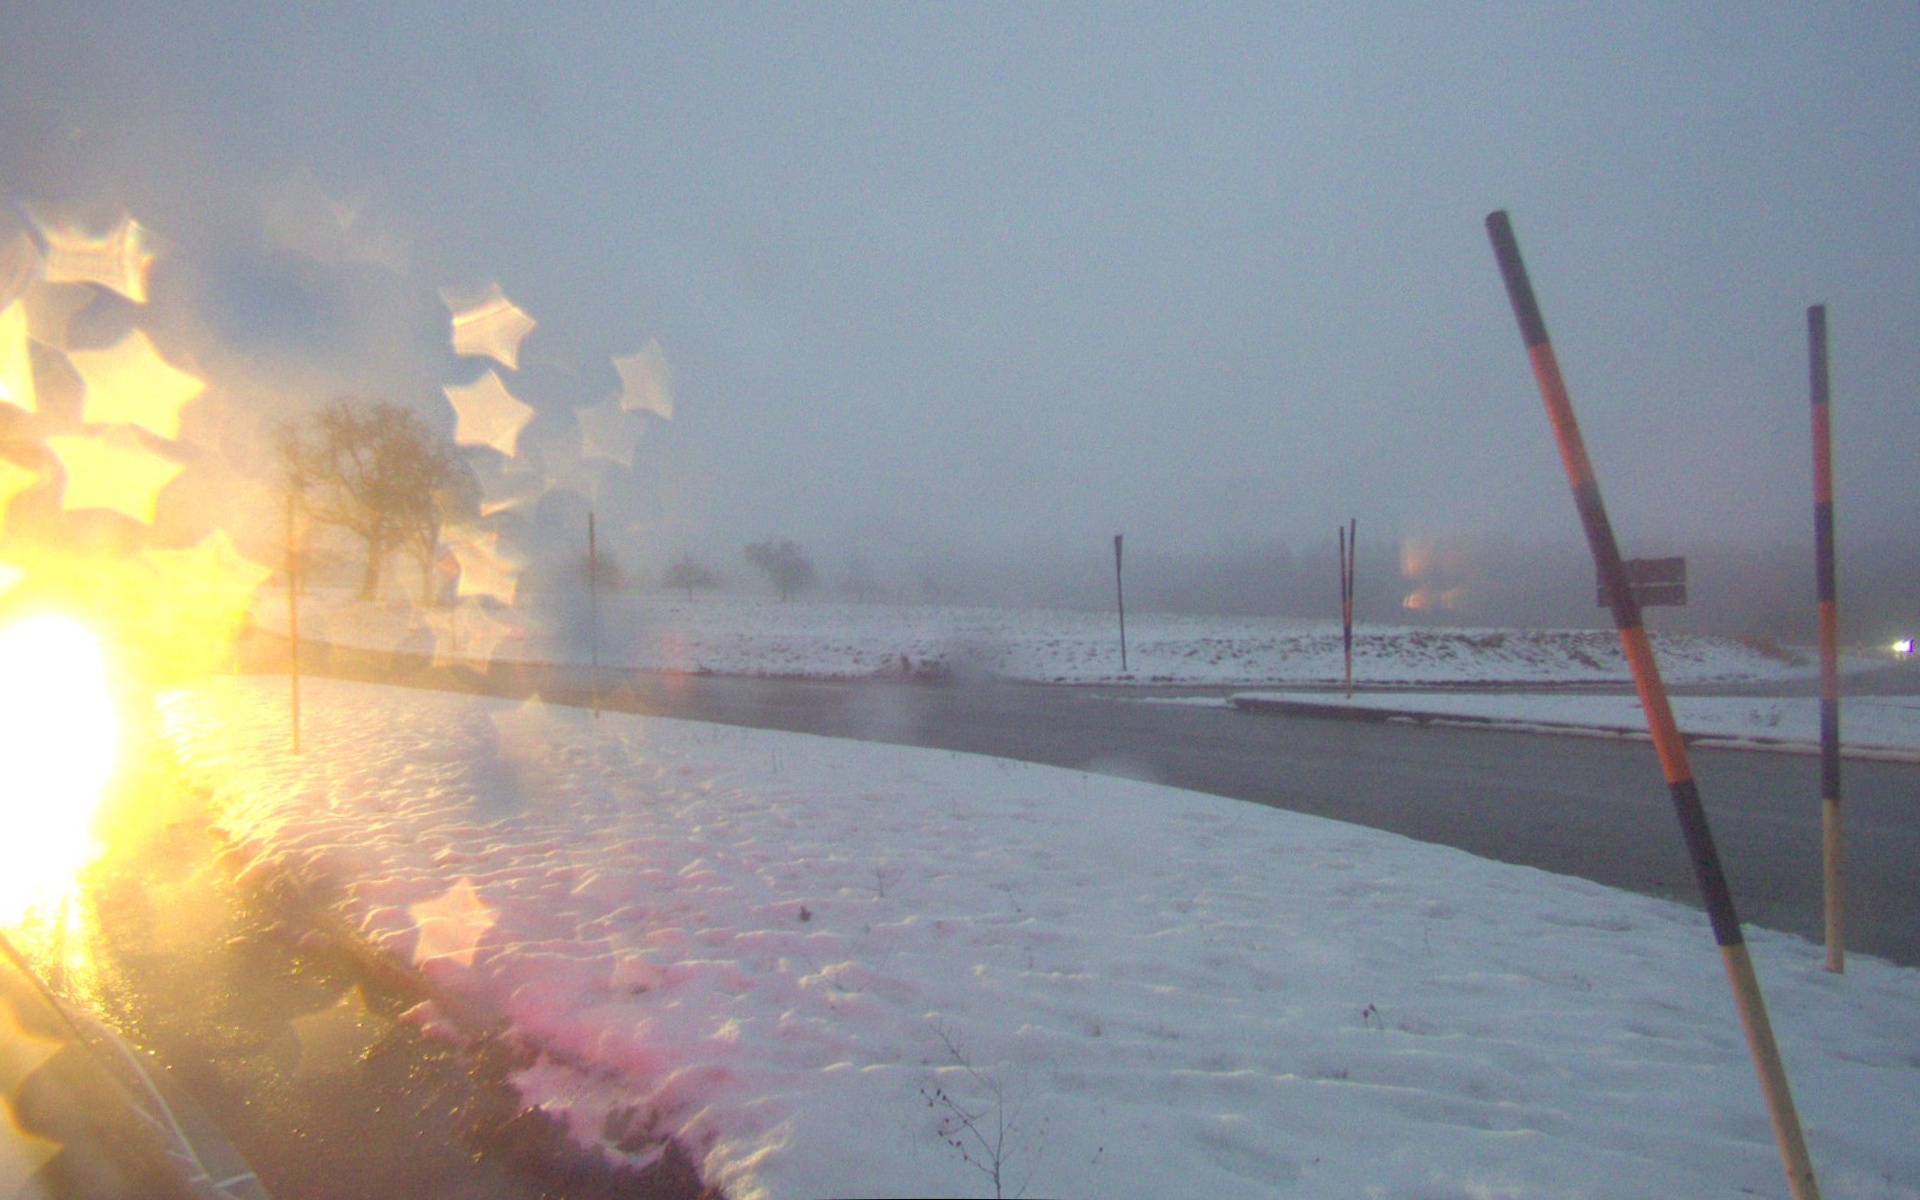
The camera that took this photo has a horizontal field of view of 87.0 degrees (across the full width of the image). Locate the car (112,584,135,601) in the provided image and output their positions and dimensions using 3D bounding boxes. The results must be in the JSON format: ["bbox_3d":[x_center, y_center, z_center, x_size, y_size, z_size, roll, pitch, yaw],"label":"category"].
[{"bbox_3d":[-93.613,-0.828,113.232,1.969,1.820,4.006,0,1,-41],"label":"car"}]

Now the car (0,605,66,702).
[{"bbox_3d":[-15.797,0.817,16.519,1.700,1.445,3.680,-1,0,-43],"label":"car"}]

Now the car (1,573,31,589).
[{"bbox_3d":[-113.395,-2.258,121.502,3.993,1.820,1.975,0,1,37],"label":"car"}]
